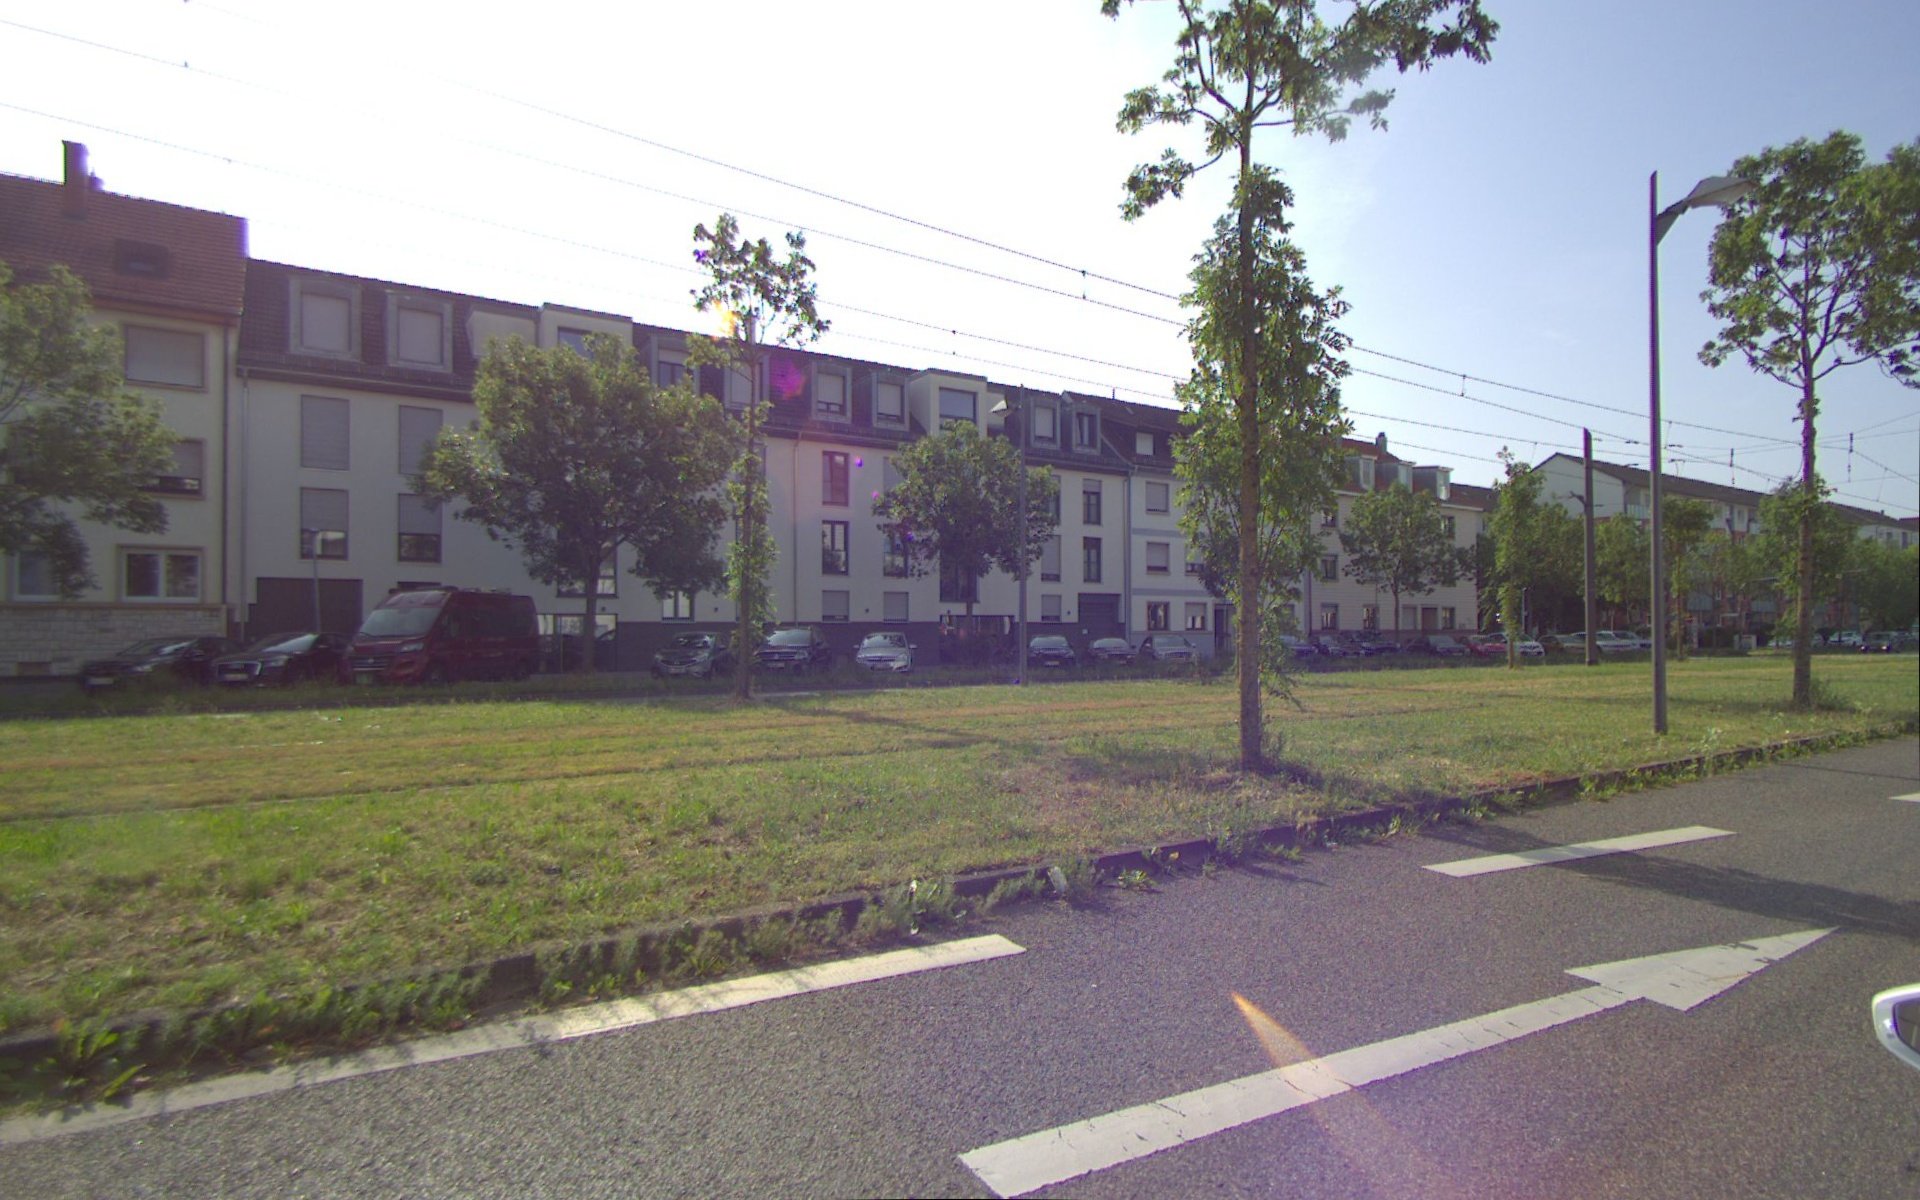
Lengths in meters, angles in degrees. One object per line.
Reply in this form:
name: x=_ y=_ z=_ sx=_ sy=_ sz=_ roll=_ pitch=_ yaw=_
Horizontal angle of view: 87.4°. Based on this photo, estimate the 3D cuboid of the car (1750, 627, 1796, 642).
car: x=66.058 y=2.811 z=81.580 sx=4.123 sy=1.163 sz=1.821 roll=1 pitch=0 yaw=-35

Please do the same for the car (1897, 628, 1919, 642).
car: x=99.132 y=3.608 z=104.235 sx=4.028 sy=1.378 sz=1.968 roll=1 pitch=0 yaw=-35

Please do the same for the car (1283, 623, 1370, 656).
car: x=16.190 y=1.730 z=44.601 sx=1.963 sy=1.305 sz=3.995 roll=1 pitch=0 yaw=-8

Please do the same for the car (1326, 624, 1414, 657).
car: x=18.492 y=1.809 z=45.486 sx=1.963 sy=1.305 sz=4.055 roll=1 pitch=0 yaw=-6

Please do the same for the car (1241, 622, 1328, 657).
car: x=13.839 y=1.658 z=43.090 sx=1.963 sy=1.305 sz=3.994 roll=1 pitch=0 yaw=-8

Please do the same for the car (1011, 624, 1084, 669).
car: x=3.046 y=1.633 z=35.842 sx=1.801 sy=1.394 sz=3.996 roll=1 pitch=0 yaw=-7

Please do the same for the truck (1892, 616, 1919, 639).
truck: x=109.651 y=3.145 z=115.397 sx=7.168 sy=2.597 sz=2.350 roll=1 pitch=-1 yaw=-35

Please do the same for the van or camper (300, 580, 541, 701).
van or camper: x=-12.937 y=0.933 z=24.772 sx=2.366 sy=2.580 sz=6.164 roll=0 pitch=-1 yaw=3

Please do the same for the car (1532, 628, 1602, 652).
car: x=34.722 y=2.276 z=57.545 sx=1.959 sy=1.194 sz=4.002 roll=1 pitch=0 yaw=7

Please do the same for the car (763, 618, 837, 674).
car: x=-4.675 y=1.307 z=29.729 sx=1.609 sy=1.453 sz=3.721 roll=1 pitch=0 yaw=-1

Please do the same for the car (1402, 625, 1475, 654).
car: x=23.629 y=1.935 z=49.751 sx=1.666 sy=1.251 sz=4.000 roll=1 pitch=0 yaw=0

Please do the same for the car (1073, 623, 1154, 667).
car: x=5.488 y=1.594 z=36.295 sx=1.891 sy=1.394 sz=3.996 roll=1 pitch=0 yaw=-7

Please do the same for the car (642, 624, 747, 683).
car: x=-7.353 y=1.440 z=28.215 sx=1.746 sy=1.439 sz=4.001 roll=1 pitch=0 yaw=2

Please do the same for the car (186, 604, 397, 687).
car: x=-15.364 y=0.988 z=23.402 sx=1.831 sy=1.637 sz=4.155 roll=3 pitch=0 yaw=5

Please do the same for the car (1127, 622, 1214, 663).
car: x=8.107 y=1.621 z=39.078 sx=1.963 sy=1.394 sz=4.334 roll=1 pitch=0 yaw=-8

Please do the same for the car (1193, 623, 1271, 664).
car: x=10.632 y=1.678 z=39.511 sx=1.634 sy=1.394 sz=3.776 roll=1 pitch=0 yaw=-8

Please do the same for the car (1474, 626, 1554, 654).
car: x=29.249 y=2.076 z=53.180 sx=1.850 sy=1.286 sz=3.998 roll=1 pitch=0 yaw=-4

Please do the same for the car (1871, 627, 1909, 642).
car: x=91.620 y=3.427 z=98.962 sx=4.028 sy=1.378 sz=1.968 roll=1 pitch=0 yaw=-35

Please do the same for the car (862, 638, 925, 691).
car: x=-2.013 y=1.955 z=31.255 sx=1.700 sy=1.338 sz=4.399 roll=1 pitch=0 yaw=-1

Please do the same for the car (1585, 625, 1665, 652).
car: x=40.093 y=2.301 z=60.701 sx=1.925 sy=1.483 sz=4.353 roll=1 pitch=0 yaw=0

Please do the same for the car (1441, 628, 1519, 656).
car: x=26.634 y=2.138 z=51.592 sx=1.839 sy=1.275 sz=3.999 roll=1 pitch=0 yaw=-1

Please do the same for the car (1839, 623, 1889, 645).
car: x=74.472 y=2.807 z=82.714 sx=4.663 sy=1.728 sz=1.982 roll=1 pitch=-1 yaw=-34

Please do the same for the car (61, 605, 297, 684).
car: x=-17.532 y=0.939 z=22.850 sx=1.831 sy=1.529 sz=4.155 roll=3 pitch=0 yaw=5

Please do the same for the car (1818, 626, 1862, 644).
car: x=79.105 y=3.125 z=90.323 sx=4.492 sy=1.577 sz=1.968 roll=1 pitch=0 yaw=-35

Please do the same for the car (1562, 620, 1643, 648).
car: x=37.280 y=1.974 z=58.436 sx=1.960 sy=1.534 sz=4.467 roll=0 pitch=-2 yaw=3
